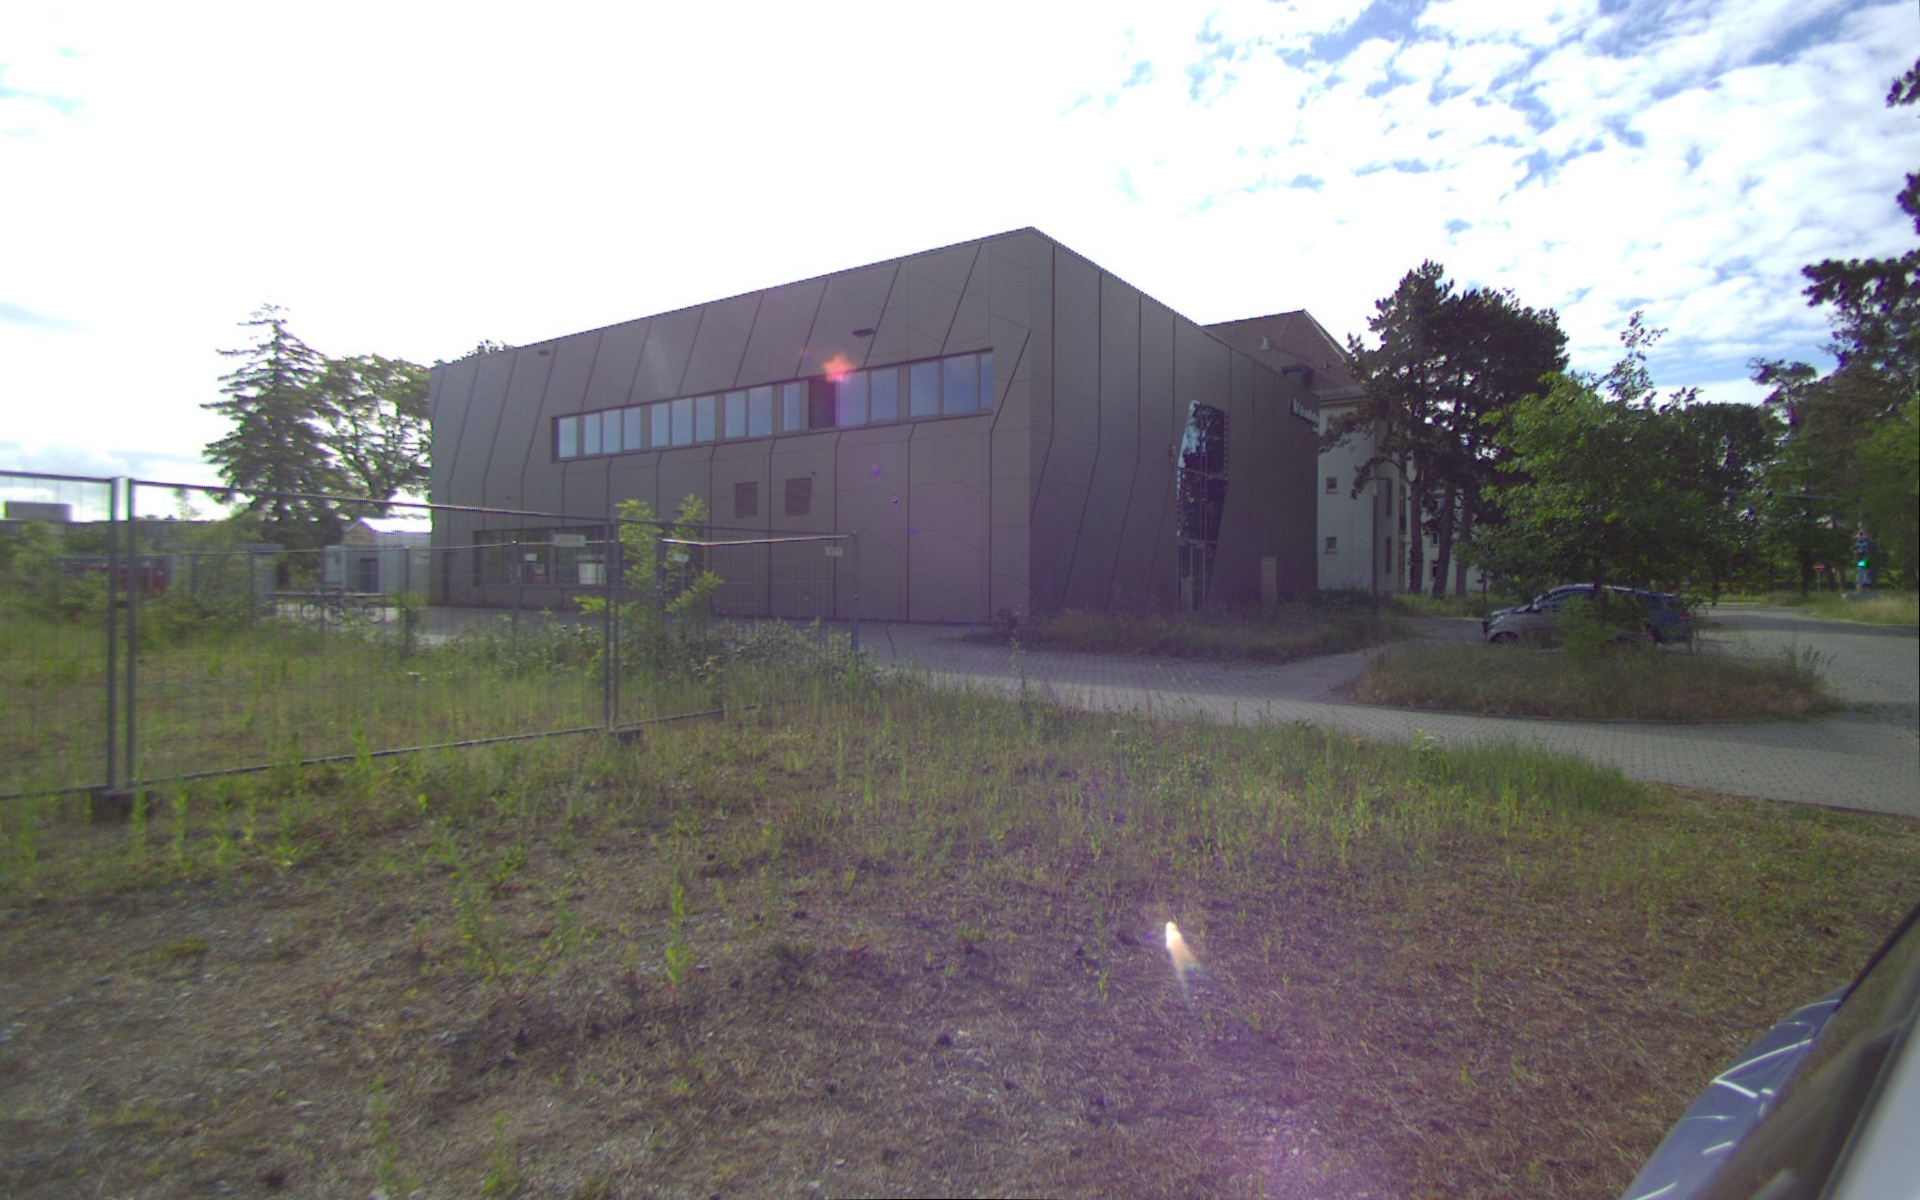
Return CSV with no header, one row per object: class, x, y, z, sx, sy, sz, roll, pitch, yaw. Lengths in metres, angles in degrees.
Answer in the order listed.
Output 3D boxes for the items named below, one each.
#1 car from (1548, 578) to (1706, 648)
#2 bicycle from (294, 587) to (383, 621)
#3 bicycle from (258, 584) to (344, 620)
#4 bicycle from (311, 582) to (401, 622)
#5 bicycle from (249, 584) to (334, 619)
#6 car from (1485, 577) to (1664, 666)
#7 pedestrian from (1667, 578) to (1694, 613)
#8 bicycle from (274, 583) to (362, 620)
car,16.212,0.271,24.766,3.069,1.475,1.476,3,2,31
bicycle,-18.451,0.104,30.089,0.939,0.933,2.045,1,1,33
bicycle,-20.273,0.028,31.165,0.939,1.057,2.045,1,1,33
bicycle,-17.466,0.043,29.322,0.939,1.100,2.045,1,1,33
bicycle,-21.028,0.027,31.850,0.939,1.057,2.045,1,1,33
car,11.622,0.349,19.185,2.756,1.569,1.405,1,1,39
pedestrian,38.501,-0.260,54.112,0.947,1.867,0.949,0,1,21
bicycle,-19.355,0.024,30.536,0.939,1.057,2.045,1,1,33
